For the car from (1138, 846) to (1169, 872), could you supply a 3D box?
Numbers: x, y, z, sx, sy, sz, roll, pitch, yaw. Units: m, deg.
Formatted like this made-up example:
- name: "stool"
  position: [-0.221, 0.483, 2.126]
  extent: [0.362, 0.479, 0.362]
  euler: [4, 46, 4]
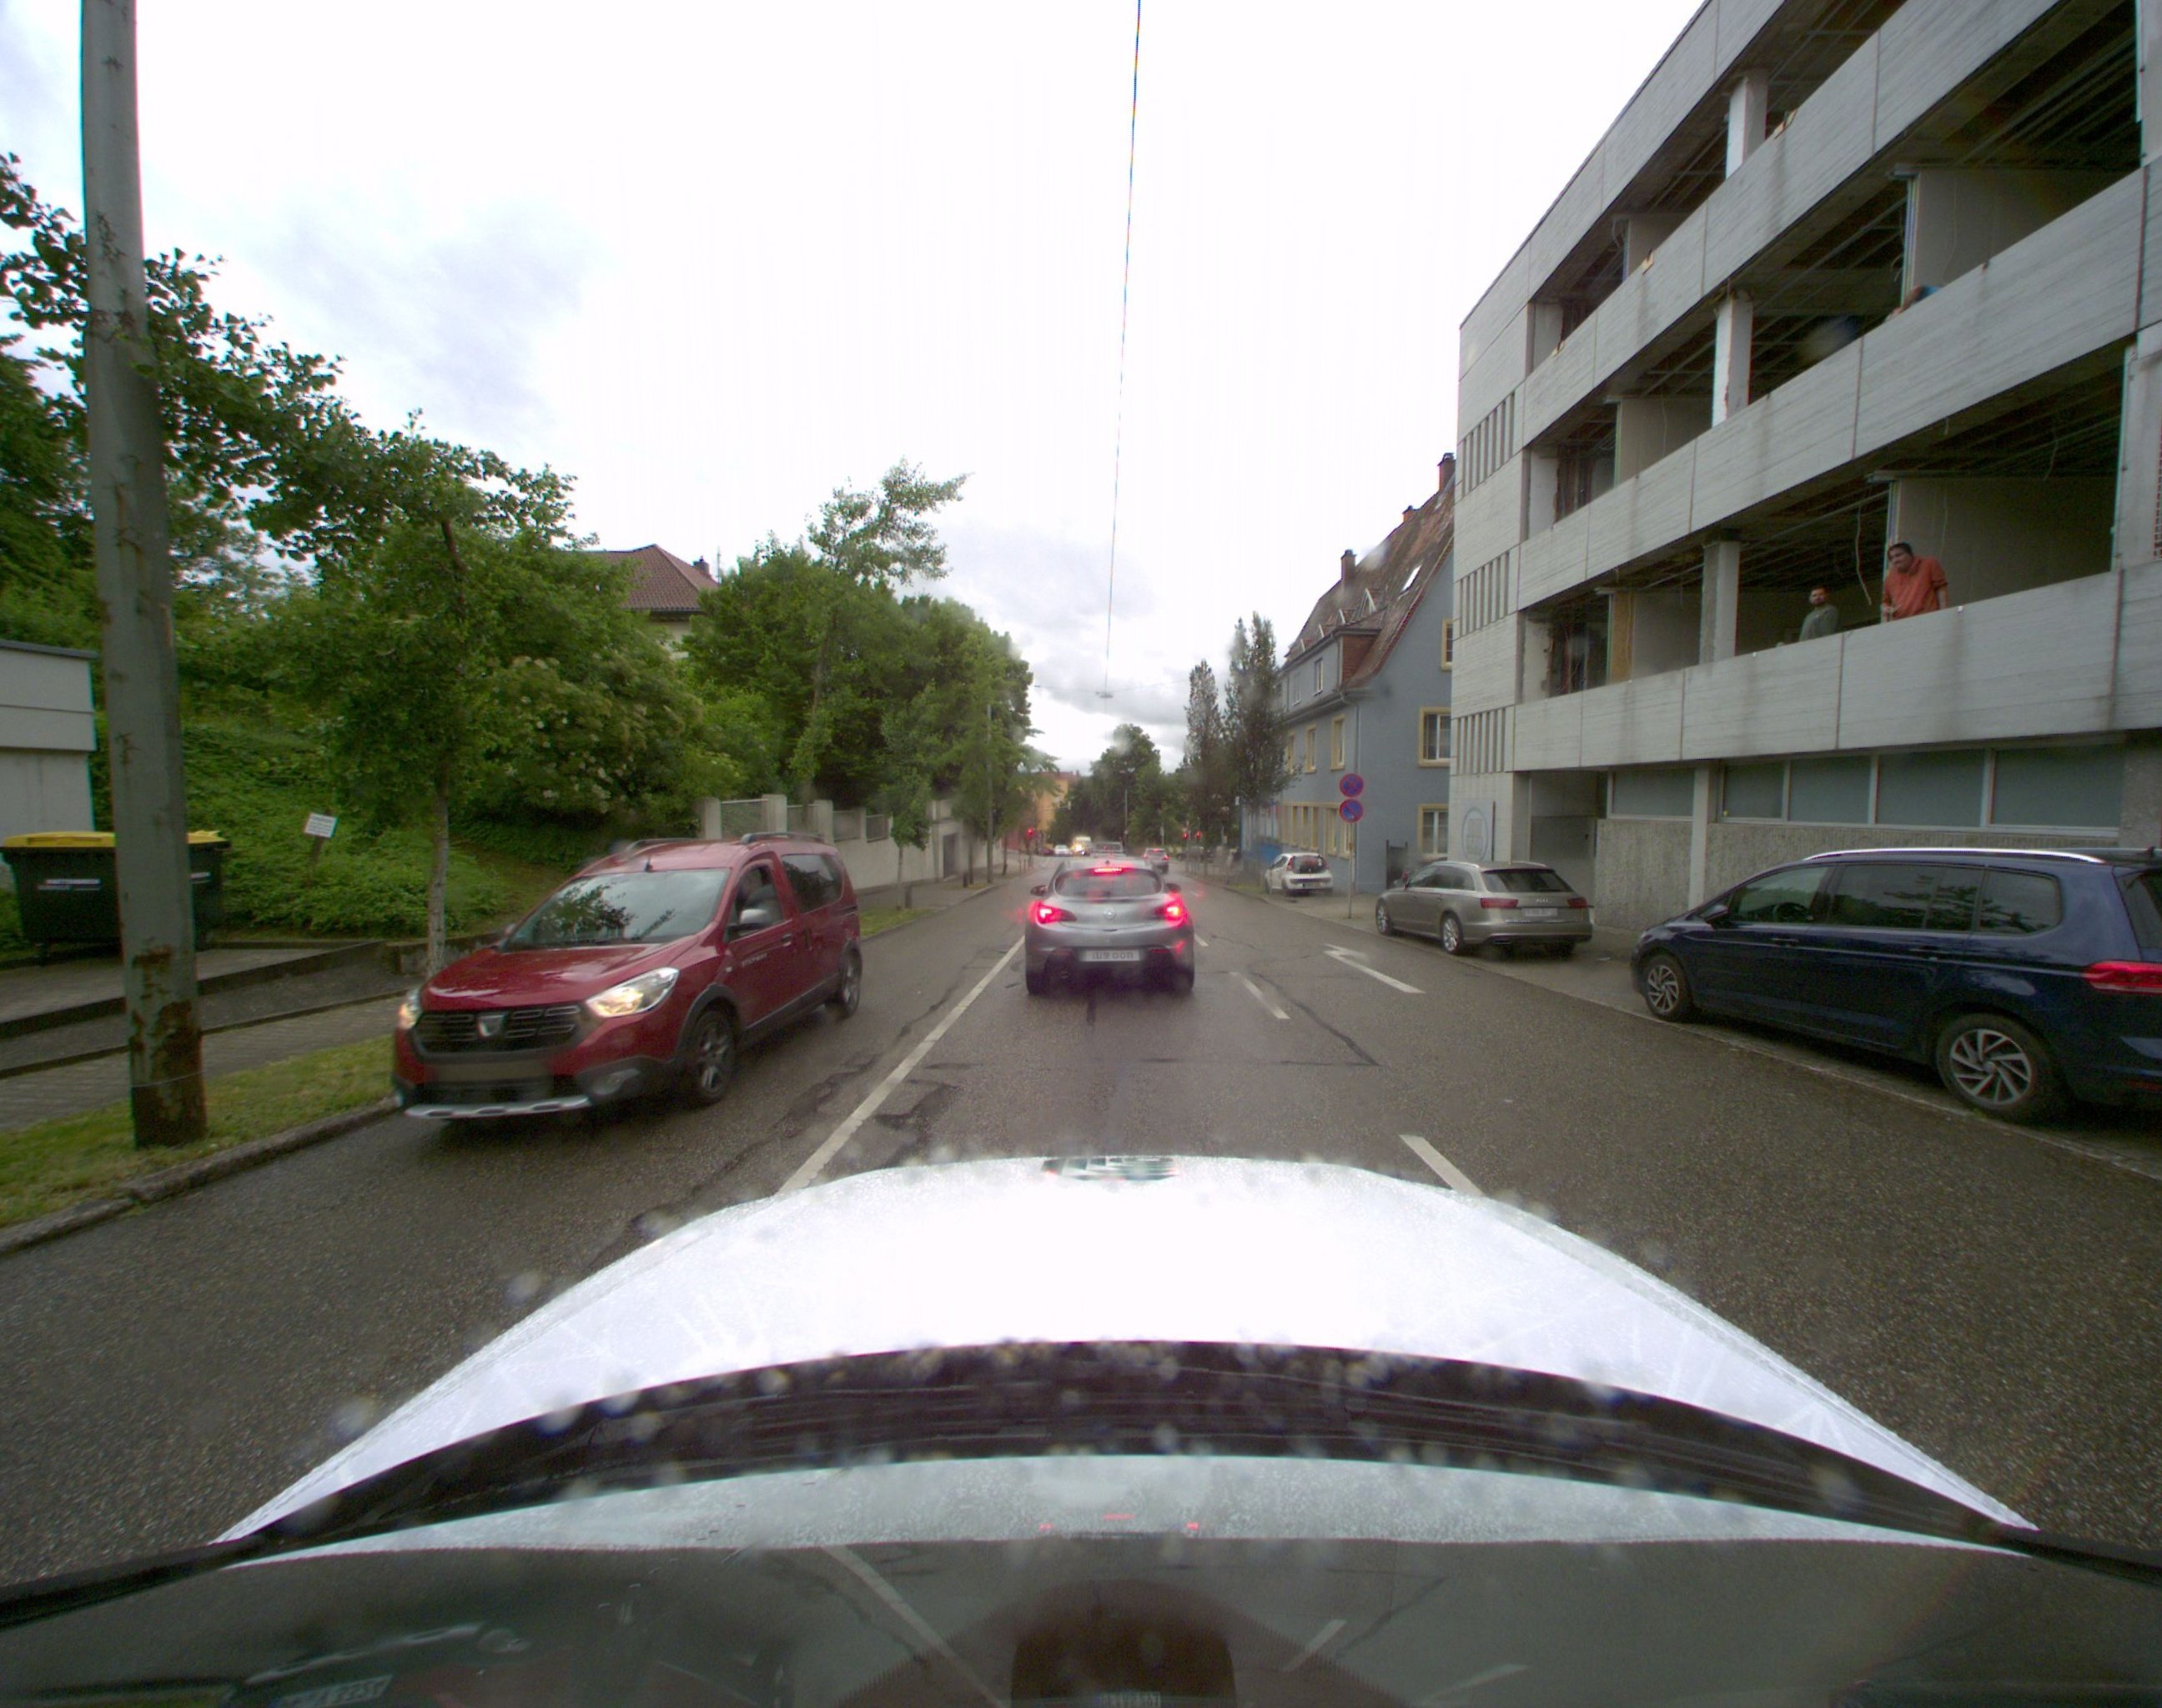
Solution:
- name: "car"
  position: [4.902, 0.324, 55.178]
  extent: [1.717, 1.714, 3.879]
  euler: [-1, 0, 0]

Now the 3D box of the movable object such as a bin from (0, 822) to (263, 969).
- name: "movable object such as a bin"
  position: [-10.030, 0.397, 8.662]
  extent: [1.296, 1.363, 1.225]
  euler: [0, 6, -5]

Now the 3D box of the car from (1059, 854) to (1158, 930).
- name: "car"
  position: [0.582, 0.754, 18.460]
  extent: [1.955, 1.448, 4.306]
  euler: [1, 0, 1]

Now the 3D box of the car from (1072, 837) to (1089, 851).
- name: "car"
  position: [-0.065, -1.229, 100.461]
  extent: [1.721, 1.638, 3.870]
  euler: [-1, 0, -7]

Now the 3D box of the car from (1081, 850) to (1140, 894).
- name: "car"
  position: [1.022, 0.601, 29.560]
  extent: [1.955, 1.448, 4.306]
  euler: [1, 0, 1]

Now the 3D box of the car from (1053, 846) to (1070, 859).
- name: "car"
  position: [-2.231, -0.175, 92.846]
  extent: [1.717, 1.460, 3.880]
  euler: [-1, 0, 1]

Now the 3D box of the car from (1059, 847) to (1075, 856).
- name: "car"
  position: [-2.403, -0.419, 139.641]
  extent: [1.726, 1.543, 3.859]
  euler: [-1, 0, -16]

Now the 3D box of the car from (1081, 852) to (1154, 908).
- name: "car"
  position: [1.018, 0.700, 24.175]
  extent: [1.955, 1.448, 4.306]
  euler: [1, 0, 1]

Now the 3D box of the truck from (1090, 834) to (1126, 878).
- name: "truck"
  position: [1.501, 0.089, 47.224]
  extent: [1.955, 2.429, 4.936]
  euler: [1, 0, 1]

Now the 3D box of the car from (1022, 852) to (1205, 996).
- name: "car"
  position: [0.327, 0.694, 10.097]
  extent: [1.831, 1.434, 3.879]
  euler: [0, 0, 0]

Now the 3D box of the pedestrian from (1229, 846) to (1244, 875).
- name: "pedestrian"
  position: [9.441, 0.378, 49.407]
  extent: [0.780, 1.729, 0.651]
  euler: [1, 0, 1]

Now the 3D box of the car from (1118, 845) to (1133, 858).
- name: "car"
  position: [5.943, -0.379, 108.976]
  extent: [1.718, 1.638, 3.877]
  euler: [-1, 0, -2]

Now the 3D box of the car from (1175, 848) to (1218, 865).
- name: "car"
  position: [11.320, 0.234, 79.826]
  extent: [3.830, 1.638, 1.739]
  euler: [-1, 0, 39]

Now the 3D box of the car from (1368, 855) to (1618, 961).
- name: "car"
  position: [6.629, 0.768, 13.790]
  extent: [1.956, 1.448, 4.526]
  euler: [0, 0, 0]

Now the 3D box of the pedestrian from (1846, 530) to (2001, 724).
- name: "pedestrian"
  position: [9.723, -2.582, 9.442]
  extent: [0.904, 2.014, 0.861]
  euler: [0, -1, 1]

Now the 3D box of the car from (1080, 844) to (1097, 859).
- name: "car"
  position: [0.850, -0.300, 92.793]
  extent: [1.864, 1.638, 3.880]
  euler: [-1, 0, 1]

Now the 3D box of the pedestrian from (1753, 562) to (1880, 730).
- name: "pedestrian"
  position: [9.743, -2.721, 10.821]
  extent: [0.904, 2.014, 0.861]
  euler: [0, -1, 1]

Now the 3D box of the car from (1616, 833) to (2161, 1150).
- name: "car"
  position: [6.292, 0.674, 6.184]
  extent: [1.723, 1.599, 4.160]
  euler: [-1, 0, 0]

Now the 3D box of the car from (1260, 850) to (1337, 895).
- name: "car"
  position: [7.566, 0.612, 28.660]
  extent: [1.717, 1.448, 3.880]
  euler: [-1, 0, 1]

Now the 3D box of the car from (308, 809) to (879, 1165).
- name: "car"
  position: [-3.148, 0.713, 6.547]
  extent: [1.740, 1.828, 4.460]
  euler: [-2, 0, 2]

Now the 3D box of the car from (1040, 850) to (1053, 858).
- name: "car"
  position: [-6.758, -0.013, 158.524]
  extent: [1.726, 1.638, 3.859]
  euler: [-1, 0, -16]

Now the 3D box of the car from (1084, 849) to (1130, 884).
- name: "car"
  position: [1.161, 0.524, 37.223]
  extent: [1.955, 1.448, 4.306]
  euler: [1, 0, 1]
